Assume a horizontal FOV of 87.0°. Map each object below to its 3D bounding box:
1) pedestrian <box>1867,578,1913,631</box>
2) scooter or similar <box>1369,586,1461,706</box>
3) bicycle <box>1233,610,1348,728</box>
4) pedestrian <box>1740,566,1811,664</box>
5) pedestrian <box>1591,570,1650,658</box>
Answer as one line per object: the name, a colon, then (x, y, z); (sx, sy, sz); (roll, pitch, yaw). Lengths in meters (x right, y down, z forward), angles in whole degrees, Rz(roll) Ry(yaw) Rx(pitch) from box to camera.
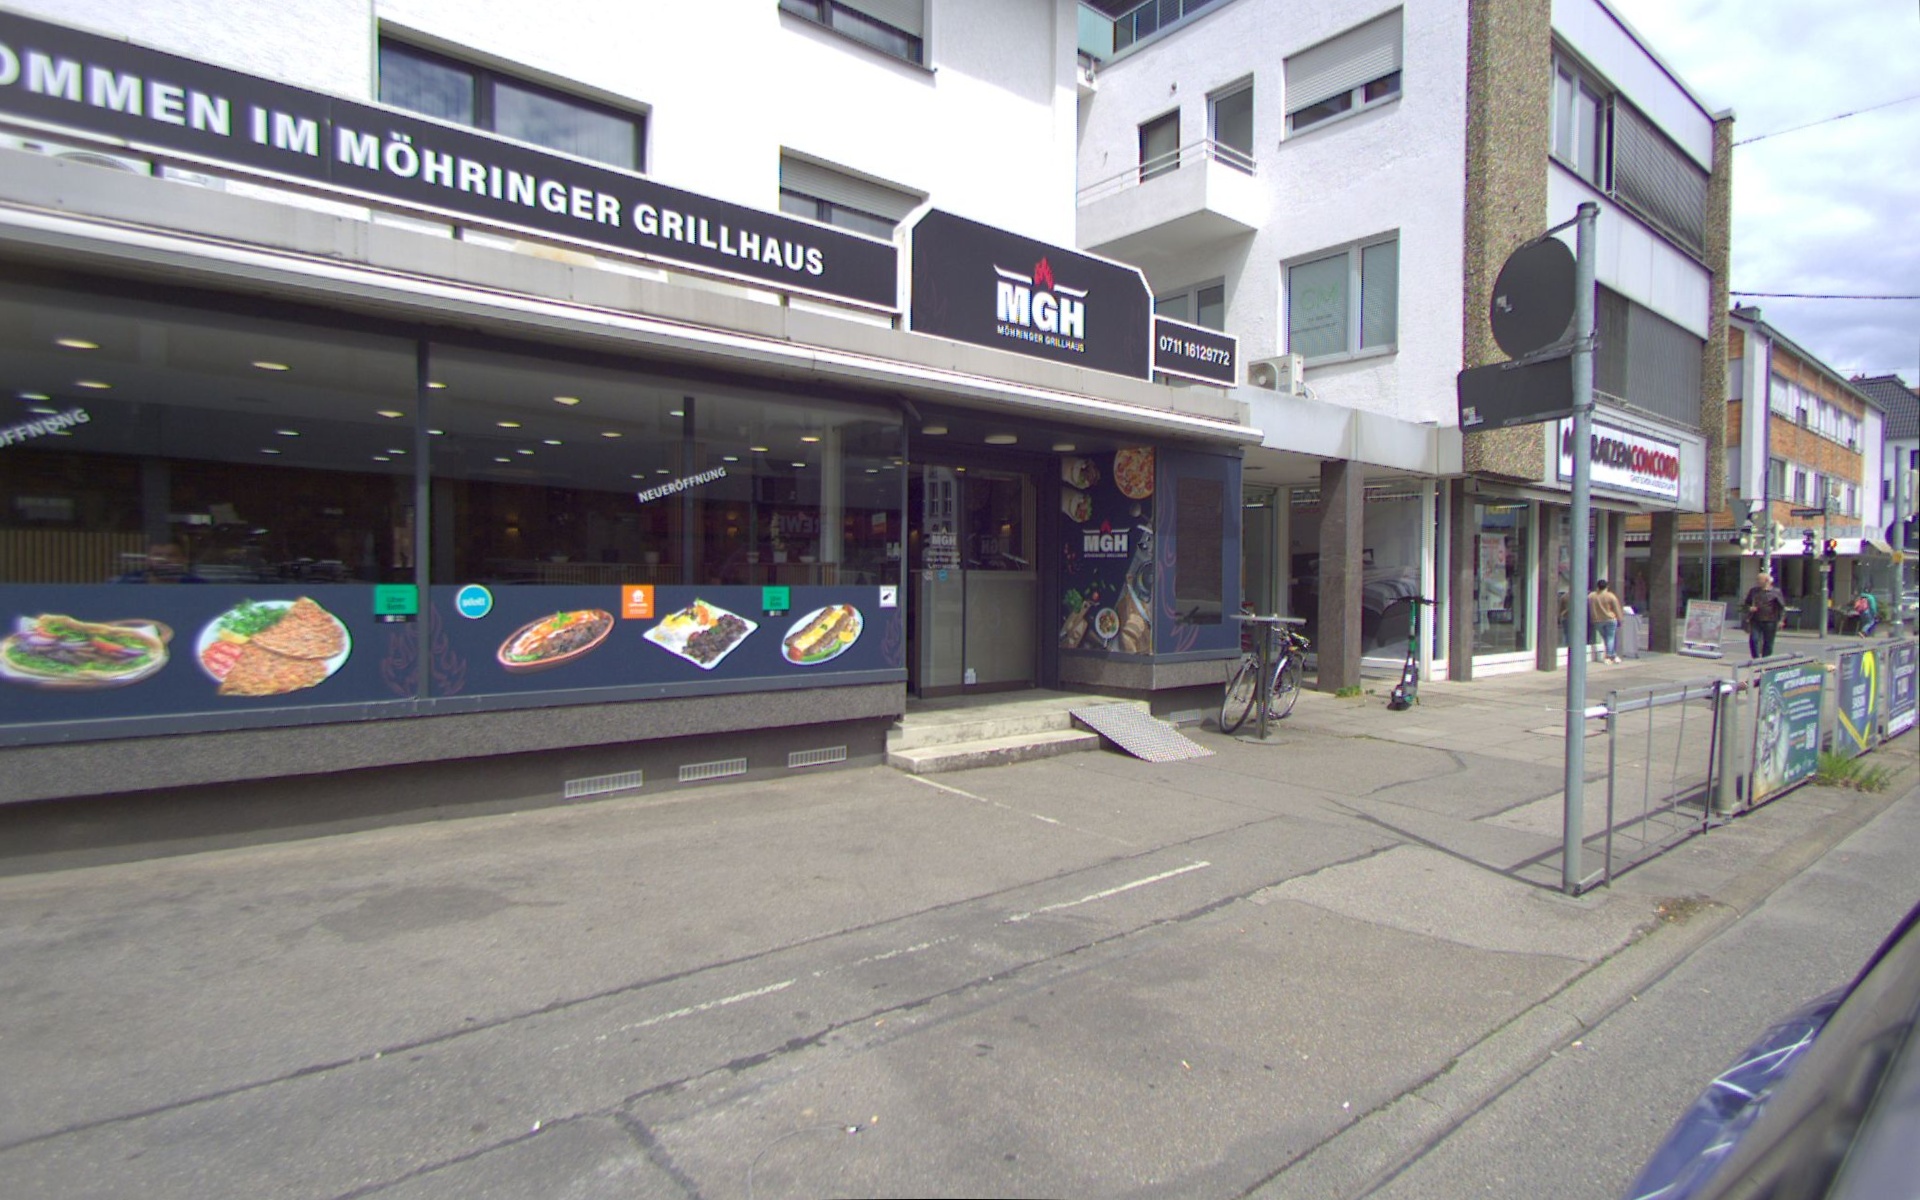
pedestrian: (27.892, 0.114, 30.369); (0.803, 1.544, 0.781); (0, 1, -31)
scooter or similar: (5.309, 0.497, 11.788); (0.686, 1.283, 1.169); (2, 2, 38)
bicycle: (3.299, 0.640, 10.030); (0.474, 1.040, 1.612); (2, 2, 41)
pedestrian: (14.569, 0.244, 18.079); (0.793, 1.691, 0.796); (0, 2, -40)
pedestrian: (11.813, 0.238, 18.103); (0.707, 1.517, 0.681); (0, 1, -39)
